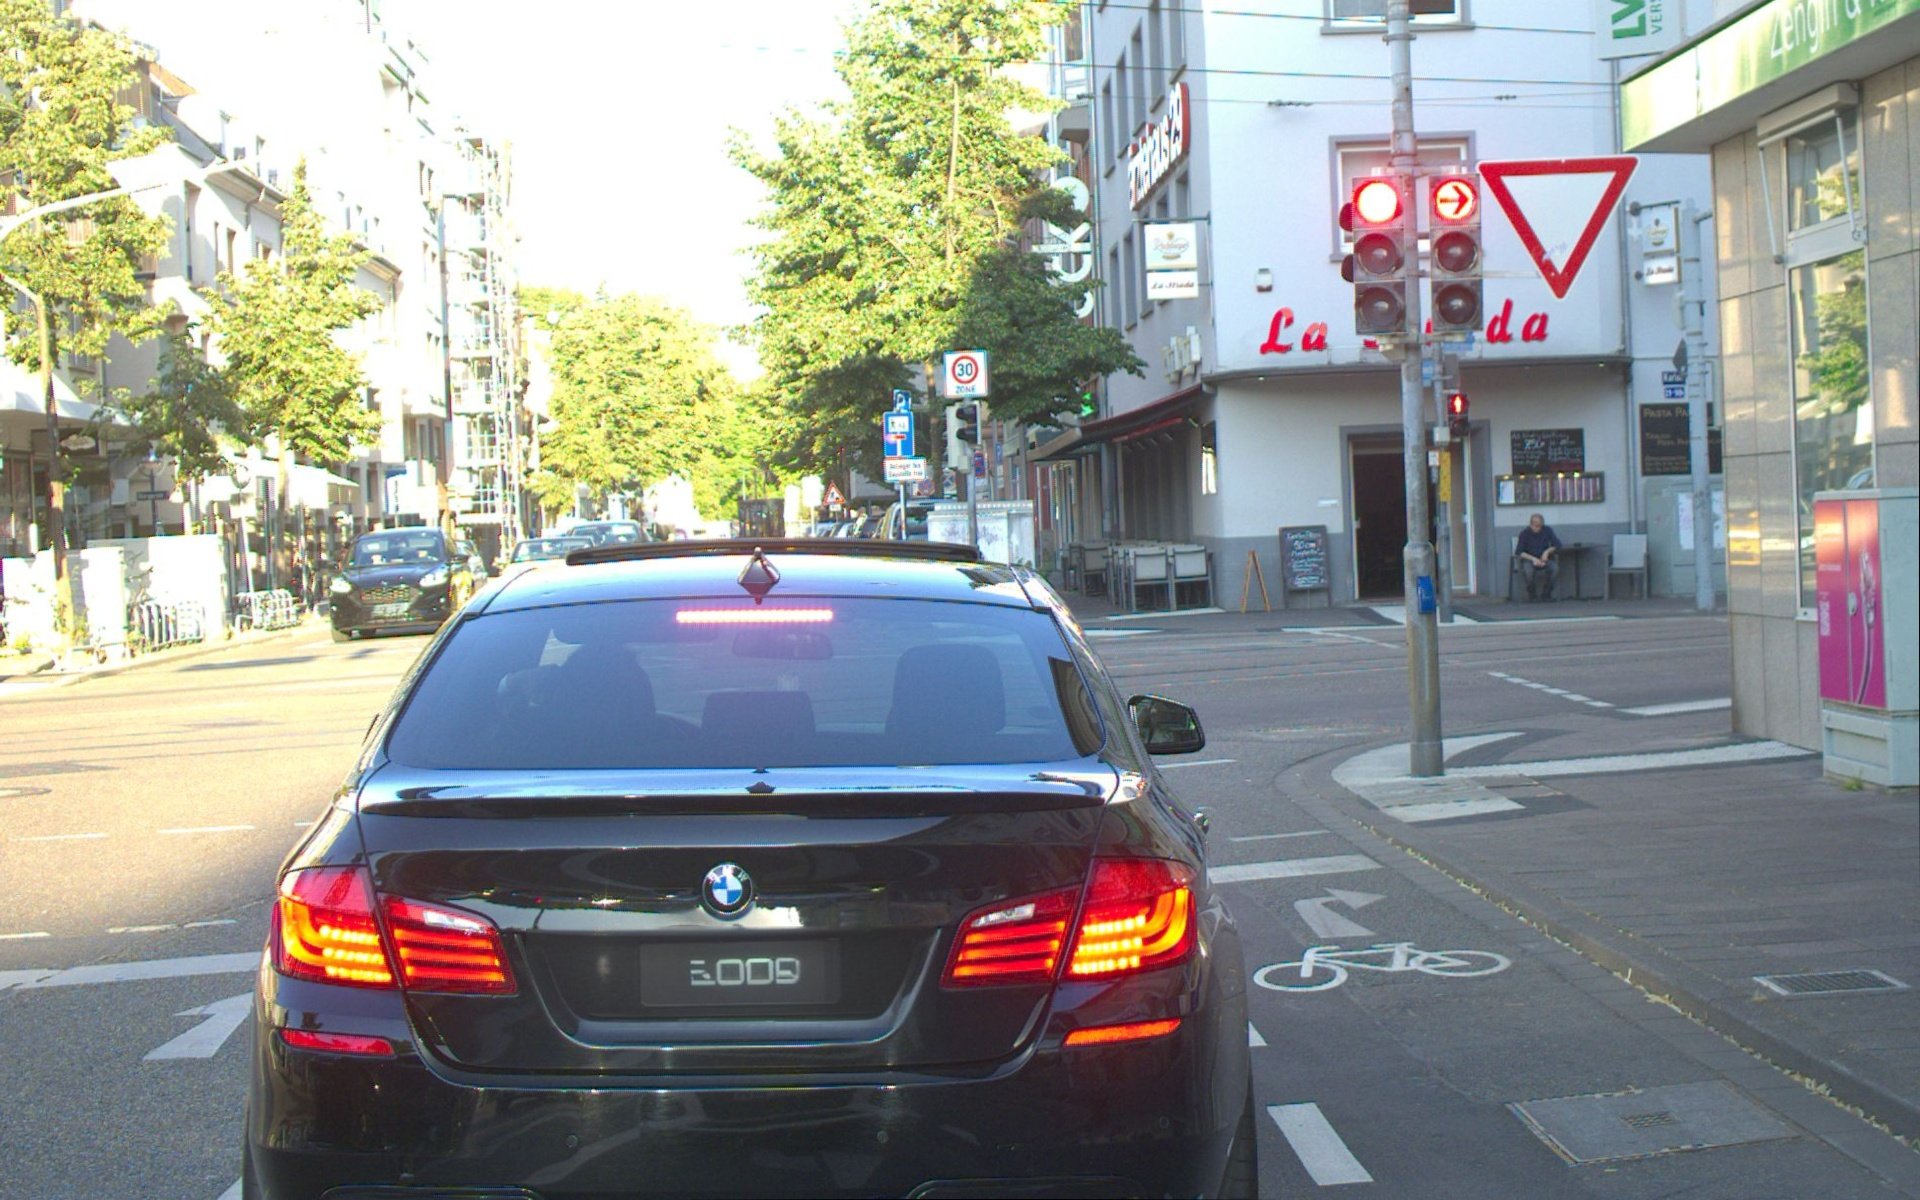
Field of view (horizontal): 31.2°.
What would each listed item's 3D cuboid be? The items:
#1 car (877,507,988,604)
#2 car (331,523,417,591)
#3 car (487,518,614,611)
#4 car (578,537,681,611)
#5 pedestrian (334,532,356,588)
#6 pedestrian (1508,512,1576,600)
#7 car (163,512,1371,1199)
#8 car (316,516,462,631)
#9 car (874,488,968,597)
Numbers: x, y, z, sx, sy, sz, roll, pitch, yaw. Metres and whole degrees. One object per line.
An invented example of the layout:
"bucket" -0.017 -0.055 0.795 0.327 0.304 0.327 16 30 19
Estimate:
"car" -0.465 -0.710 54.591 1.625 1.466 3.395 -1 1 -2
"car" -13.447 -1.005 79.010 1.733 1.456 4.001 -2 1 -7
"car" -6.889 -0.620 57.665 1.993 1.437 4.001 -2 1 -7
"car" -6.217 -0.511 64.435 1.733 1.288 4.001 -2 1 -7
"pedestrian" -15.663 -1.022 87.539 0.444 1.411 0.525 -2 1 -4
"pedestrian" 7.839 -0.594 46.314 0.697 1.153 0.844 -2 1 -3
"car" -0.416 0.586 7.684 1.903 1.535 4.450 1 1 -3
"car" -8.636 -0.428 52.231 1.993 1.612 4.001 -2 1 -7
"car" -0.716 -1.015 60.987 1.421 1.848 3.053 -1 1 -5
